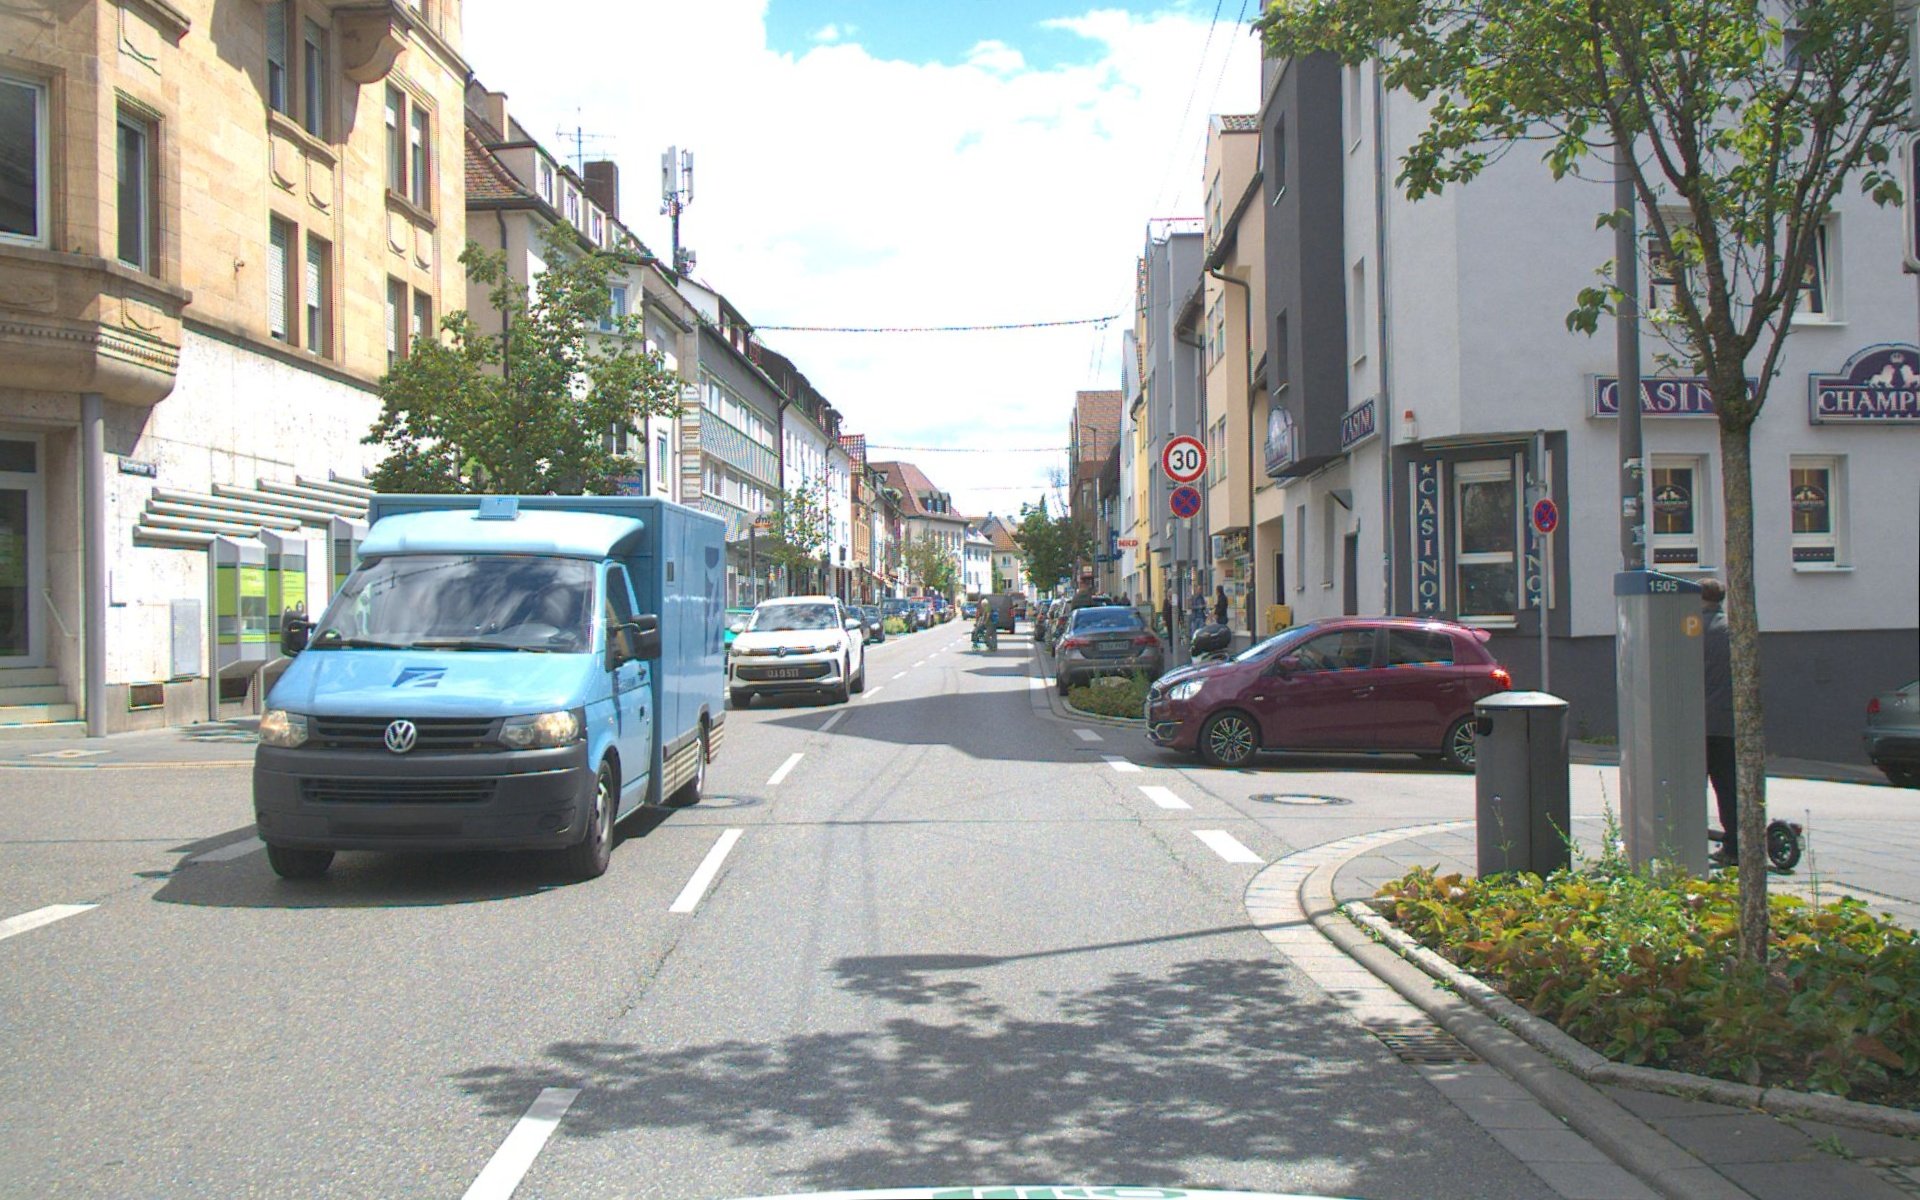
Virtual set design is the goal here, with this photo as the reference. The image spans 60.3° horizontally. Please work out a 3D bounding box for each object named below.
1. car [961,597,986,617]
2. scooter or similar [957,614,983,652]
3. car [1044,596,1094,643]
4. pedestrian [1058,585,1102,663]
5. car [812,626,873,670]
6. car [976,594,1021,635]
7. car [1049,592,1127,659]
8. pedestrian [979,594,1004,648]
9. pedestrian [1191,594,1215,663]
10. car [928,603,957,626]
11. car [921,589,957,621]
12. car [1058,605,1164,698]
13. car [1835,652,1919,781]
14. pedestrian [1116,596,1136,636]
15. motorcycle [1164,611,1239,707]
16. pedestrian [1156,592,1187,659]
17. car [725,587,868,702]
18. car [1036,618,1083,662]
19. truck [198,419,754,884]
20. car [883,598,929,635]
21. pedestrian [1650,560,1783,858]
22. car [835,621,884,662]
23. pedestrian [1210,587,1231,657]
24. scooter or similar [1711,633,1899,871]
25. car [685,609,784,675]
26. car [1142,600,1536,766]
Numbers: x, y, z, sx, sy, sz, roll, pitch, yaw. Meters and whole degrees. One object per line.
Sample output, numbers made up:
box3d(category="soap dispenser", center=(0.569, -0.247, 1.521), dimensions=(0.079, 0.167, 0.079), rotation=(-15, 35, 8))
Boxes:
box3d(category="car", center=(1.164, 0.613, 139.619), dimensions=(1.865, 1.591, 4.647), rotation=(1, -1, 3))
box3d(category="scooter or similar", center=(0.310, 1.013, 51.125), dimensions=(0.766, 1.145, 0.630), rotation=(1, -1, -2))
box3d(category="car", center=(3.896, 0.705, 59.454), dimensions=(1.654, 1.601, 3.757), rotation=(1, -1, 2))
box3d(category="pedestrian", center=(3.011, 0.593, 41.575), dimensions=(0.955, 1.896, 0.864), rotation=(-2, -1, 1))
box3d(category="car", center=(-4.358, 1.783, 61.965), dimensions=(1.753, 1.539, 4.713), rotation=(0, 0, 2))
box3d(category="car", center=(1.890, 0.710, 79.988), dimensions=(1.998, 1.881, 5.000), rotation=(1, -1, 3))
box3d(category="car", center=(3.368, 0.643, 44.061), dimensions=(1.762, 1.631, 4.204), rotation=(-2, 0, 1))
box3d(category="pedestrian", center=(0.959, 0.661, 51.170), dimensions=(0.716, 1.646, 0.651), rotation=(1, -1, -3))
box3d(category="pedestrian", center=(6.239, 0.730, 42.424), dimensions=(0.524, 1.748, 0.606), rotation=(1, -1, 1))
box3d(category="car", center=(-1.223, 1.009, 117.984), dimensions=(1.762, 1.626, 4.390), rotation=(0, 0, 3))
box3d(category="car", center=(-1.232, 0.309, 97.861), dimensions=(1.778, 1.786, 4.465), rotation=(1, -1, 4))
box3d(category="car", center=(2.579, 0.860, 28.484), dimensions=(1.671, 1.445, 4.320), rotation=(1, -1, 5))
box3d(category="car", center=(12.545, 1.484, 19.239), dimensions=(3.808, 1.423, 1.845), rotation=(5, -2, -10))
box3d(category="pedestrian", center=(6.696, 0.635, 66.659), dimensions=(0.734, 1.580, 0.726), rotation=(-1, -1, 1))
box3d(category="motorcycle", center=(3.392, 0.808, 23.441), dimensions=(0.645, 1.282, 2.375), rotation=(1, -1, -2))
box3d(category="pedestrian", center=(5.573, 0.675, 43.661), dimensions=(0.728, 1.748, 0.656), rotation=(-1, -1, 1))
box3d(category="car", center=(-2.542, 0.696, 26.615), dimensions=(1.750, 1.669, 4.116), rotation=(1, -1, 2))
box3d(category="car", center=(3.826, 1.523, 63.976), dimensions=(1.654, 1.497, 4.525), rotation=(1, 1, 2))
box3d(category="truck", center=(-2.870, 0.318, 11.696), dimensions=(2.063, 2.346, 6.474), rotation=(1, -1, -1))
box3d(category="car", center=(-2.744, 0.865, 84.573), dimensions=(1.778, 1.786, 4.671), rotation=(1, -1, 5))
box3d(category="pedestrian", center=(4.513, 0.641, 9.889), dimensions=(0.560, 1.733, 0.481), rotation=(1, -1, -5))
box3d(category="car", center=(-4.040, 1.657, 66.891), dimensions=(1.754, 1.530, 4.177), rotation=(1, 0, -1))
box3d(category="pedestrian", center=(6.565, 0.565, 41.734), dimensions=(0.427, 1.748, 0.537), rotation=(1, -1, 0))
box3d(category="scooter or similar", center=(4.939, 0.848, 9.732), dimensions=(0.422, 1.303, 1.248), rotation=(1, -1, -3))
box3d(category="car", center=(-5.167, 0.951, 38.263), dimensions=(1.552, 1.439, 3.670), rotation=(1, -1, 3))
box3d(category="car", center=(3.756, 0.815, 16.802), dimensions=(3.669, 1.557, 1.537), rotation=(1, -1, 1))
